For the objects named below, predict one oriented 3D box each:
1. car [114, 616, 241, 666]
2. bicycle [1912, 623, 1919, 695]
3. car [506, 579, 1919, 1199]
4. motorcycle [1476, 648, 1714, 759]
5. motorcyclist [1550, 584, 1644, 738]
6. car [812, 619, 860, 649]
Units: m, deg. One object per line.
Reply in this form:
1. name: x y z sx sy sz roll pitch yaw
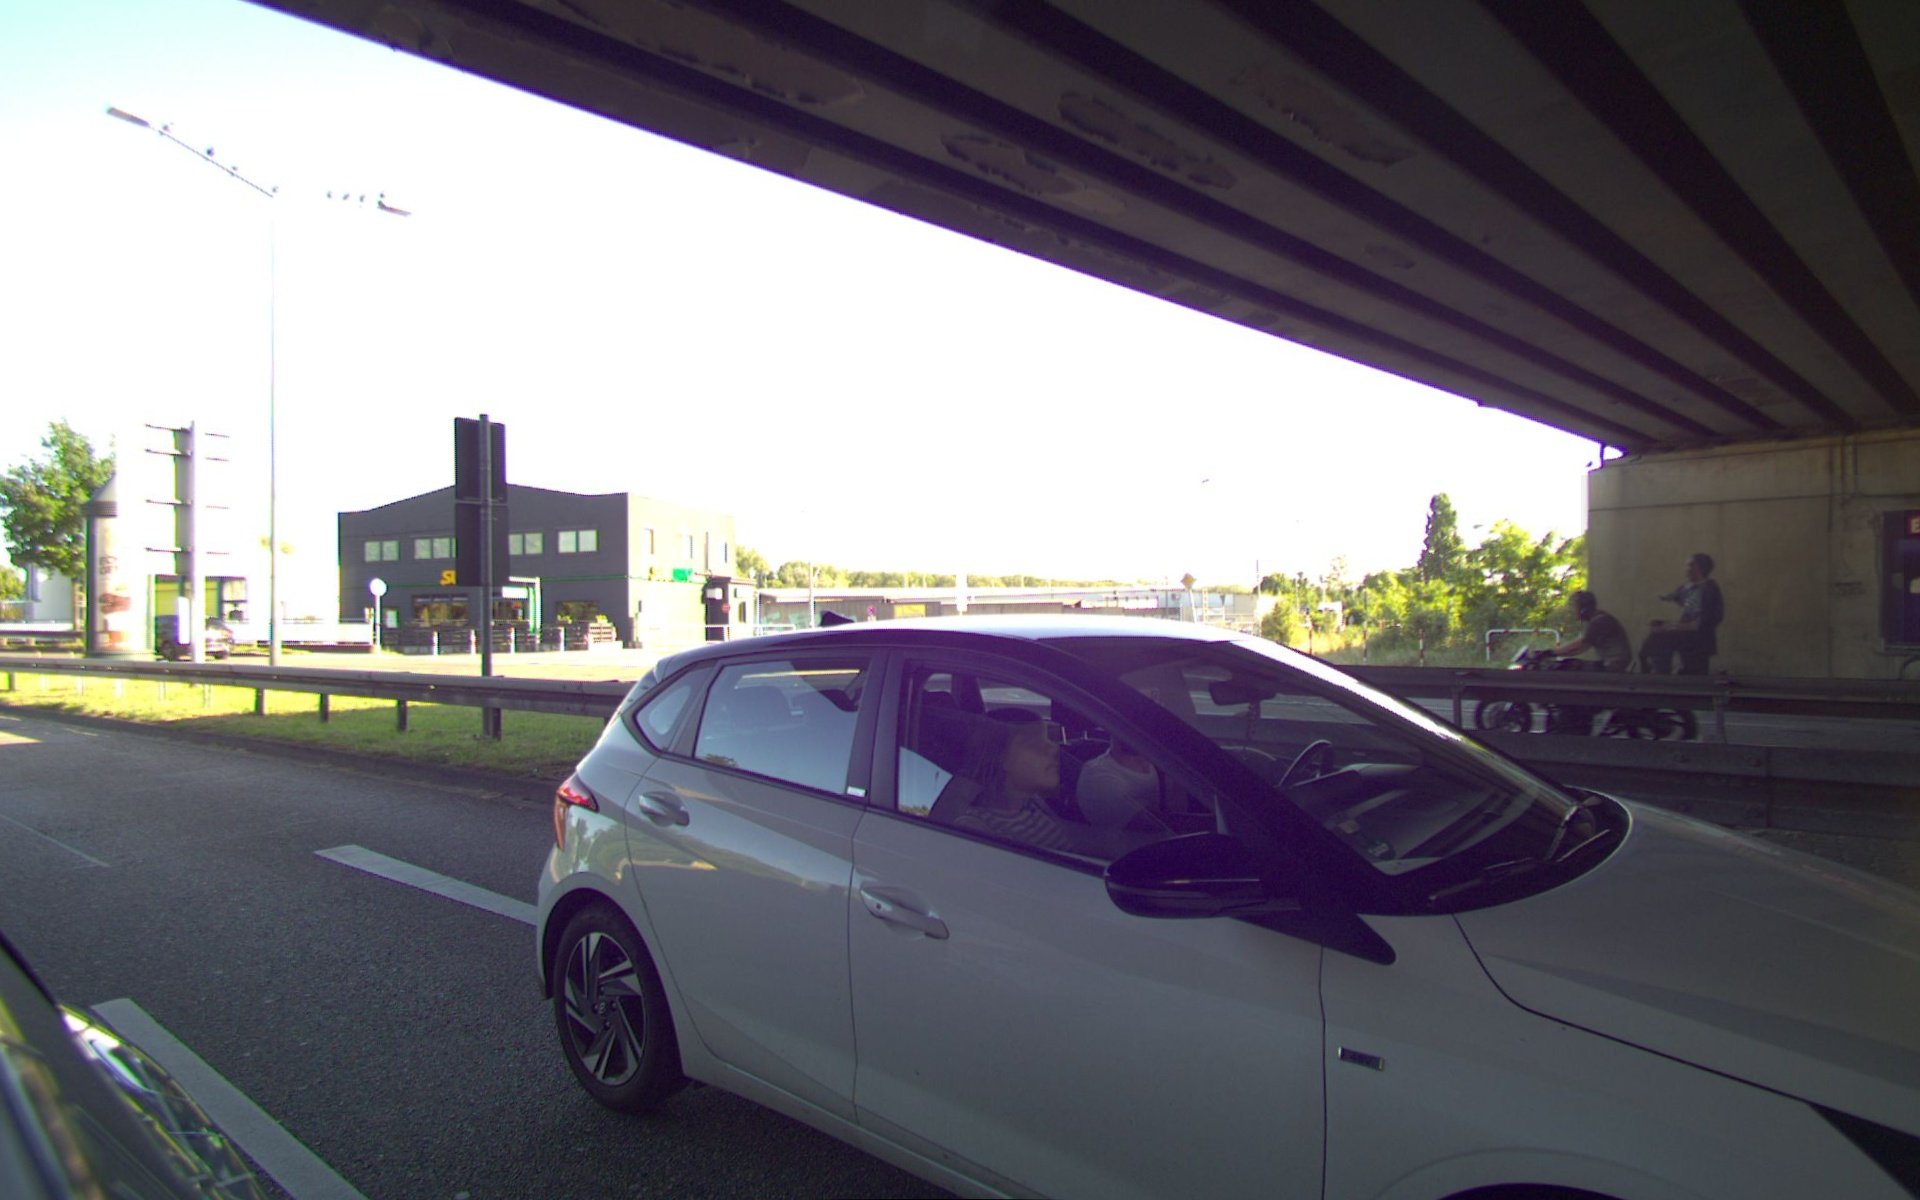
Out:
1. car: -27.648 1.426 35.739 4.341 1.629 1.841 -1 0 26
2. bicycle: 16.769 0.974 16.431 1.877 1.174 0.627 -1 0 41
3. car: 0.568 0.709 2.670 3.868 1.414 1.715 -1 -1 40
4. motorcycle: 6.627 1.035 10.637 2.008 1.035 0.685 -2 -2 41
5. motorcyclist: 6.674 0.614 10.605 0.697 1.539 0.689 -2 -2 41
6. car: -6.685 1.827 54.946 1.858 1.453 3.996 -1 0 3
